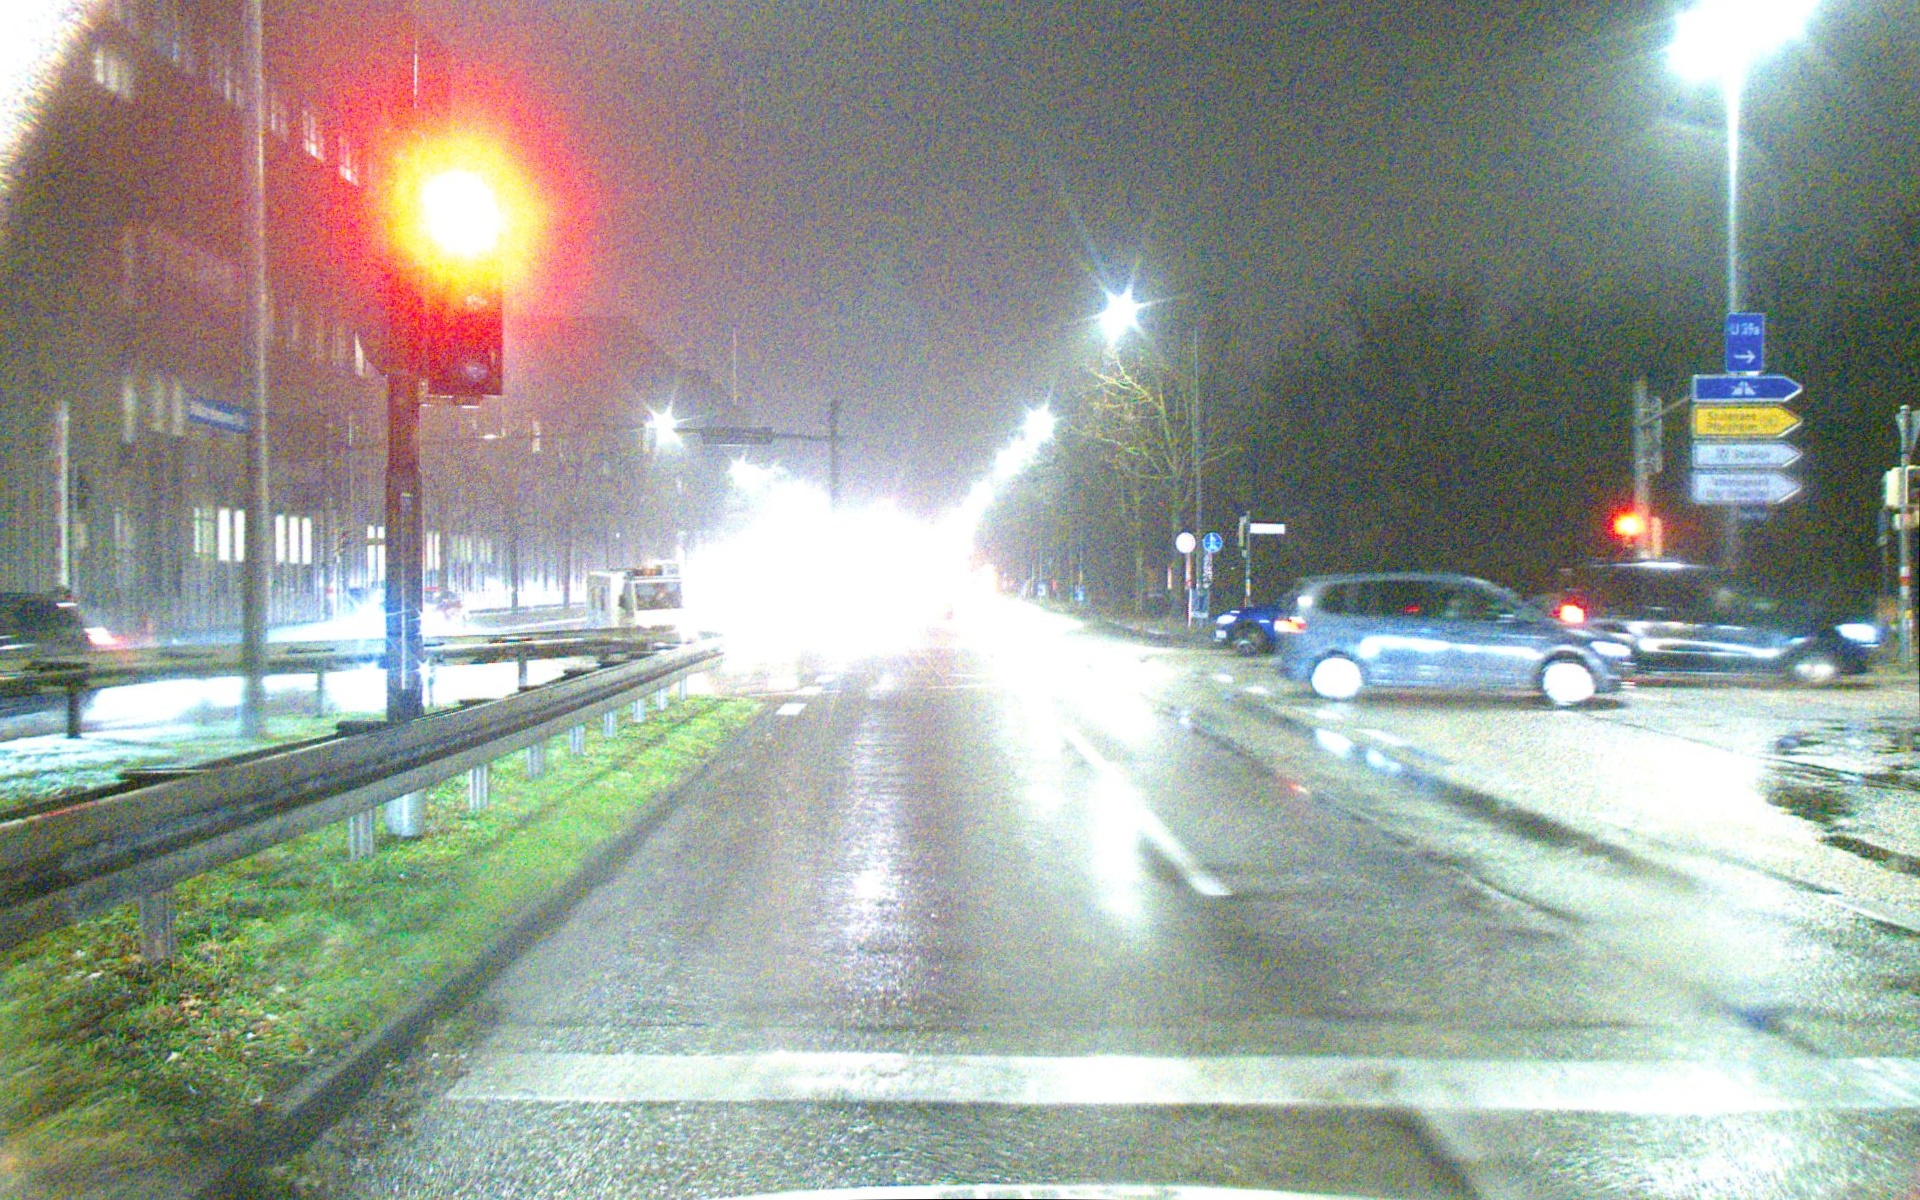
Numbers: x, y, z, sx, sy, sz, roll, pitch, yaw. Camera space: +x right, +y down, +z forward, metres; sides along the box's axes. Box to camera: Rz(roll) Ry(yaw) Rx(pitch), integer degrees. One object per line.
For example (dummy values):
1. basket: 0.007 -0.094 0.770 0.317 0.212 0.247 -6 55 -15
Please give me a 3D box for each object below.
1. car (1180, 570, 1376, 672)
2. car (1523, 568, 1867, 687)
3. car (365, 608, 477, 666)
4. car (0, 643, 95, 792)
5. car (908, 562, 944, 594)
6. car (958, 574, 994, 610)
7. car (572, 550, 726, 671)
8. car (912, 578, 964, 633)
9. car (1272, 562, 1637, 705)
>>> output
1. car: 6.658 0.416 34.475 3.902 2.049 2.001 0 -1 14
2. car: 10.692 0.378 24.419 4.404 1.646 1.909 0 -1 16
3. car: -14.631 0.975 45.101 1.787 1.490 3.999 0 0 -1
4. car: -11.046 1.270 17.888 1.665 1.543 3.565 0 0 -4
5. car: -2.533 -1.630 121.847 2.393 2.232 5.075 0 0 -4
6. car: 0.949 -0.436 95.311 1.996 2.049 4.308 0 0 2
7. car: -5.655 0.190 29.806 1.680 2.049 3.532 1 -1 -30
8. car: -0.856 0.217 65.857 1.996 2.119 4.306 0 0 0
9. car: 6.312 0.401 21.300 4.310 1.702 1.960 0 -1 18
